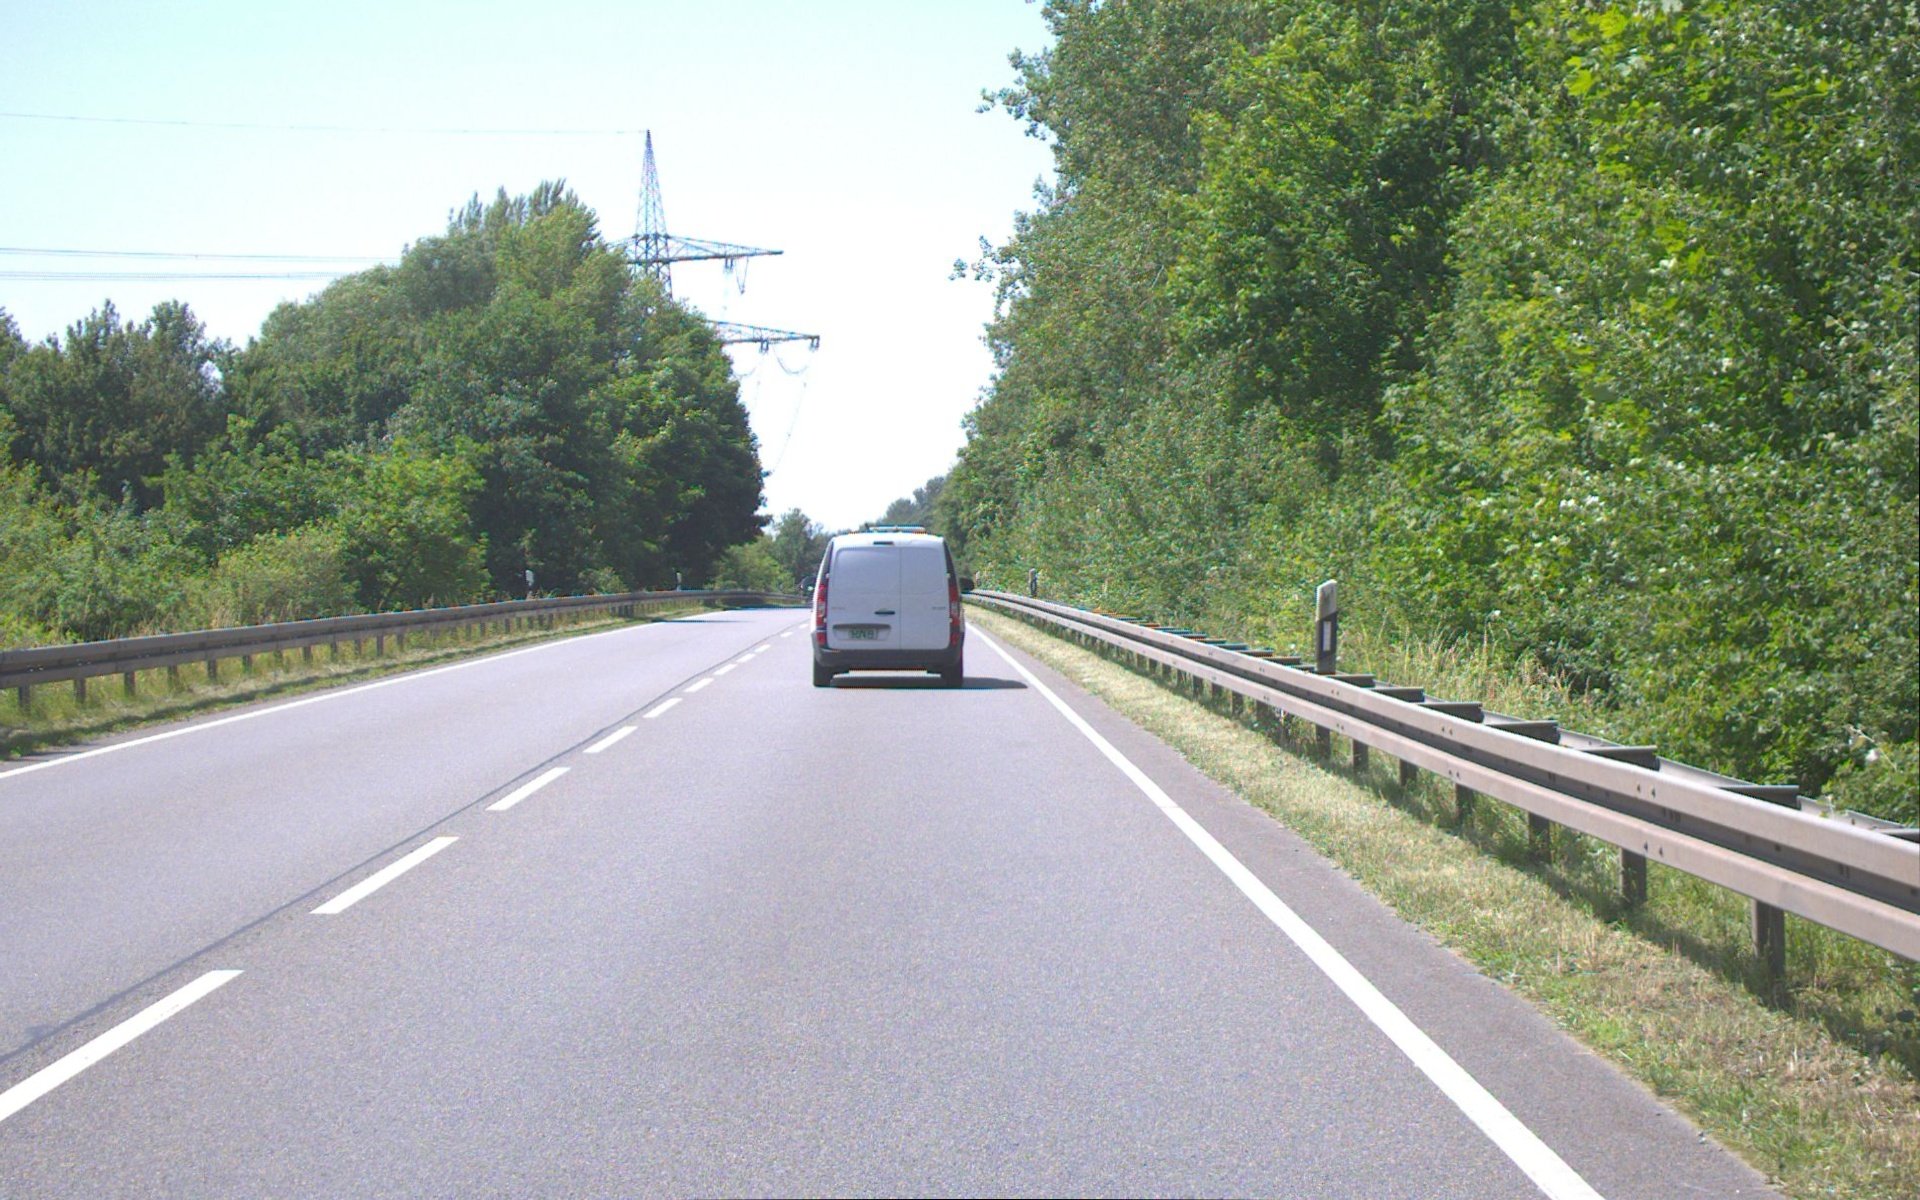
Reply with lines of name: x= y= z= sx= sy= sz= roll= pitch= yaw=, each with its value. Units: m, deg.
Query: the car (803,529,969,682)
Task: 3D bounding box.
car: x=-0.887 y=0.033 z=41.015 sx=1.875 sy=1.735 sz=4.000 roll=0 pitch=1 yaw=-1

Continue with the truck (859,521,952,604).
truck: x=-2.101 y=-1.538 z=138.703 sx=3.296 sy=3.161 sz=14.404 roll=0 pitch=1 yaw=1
